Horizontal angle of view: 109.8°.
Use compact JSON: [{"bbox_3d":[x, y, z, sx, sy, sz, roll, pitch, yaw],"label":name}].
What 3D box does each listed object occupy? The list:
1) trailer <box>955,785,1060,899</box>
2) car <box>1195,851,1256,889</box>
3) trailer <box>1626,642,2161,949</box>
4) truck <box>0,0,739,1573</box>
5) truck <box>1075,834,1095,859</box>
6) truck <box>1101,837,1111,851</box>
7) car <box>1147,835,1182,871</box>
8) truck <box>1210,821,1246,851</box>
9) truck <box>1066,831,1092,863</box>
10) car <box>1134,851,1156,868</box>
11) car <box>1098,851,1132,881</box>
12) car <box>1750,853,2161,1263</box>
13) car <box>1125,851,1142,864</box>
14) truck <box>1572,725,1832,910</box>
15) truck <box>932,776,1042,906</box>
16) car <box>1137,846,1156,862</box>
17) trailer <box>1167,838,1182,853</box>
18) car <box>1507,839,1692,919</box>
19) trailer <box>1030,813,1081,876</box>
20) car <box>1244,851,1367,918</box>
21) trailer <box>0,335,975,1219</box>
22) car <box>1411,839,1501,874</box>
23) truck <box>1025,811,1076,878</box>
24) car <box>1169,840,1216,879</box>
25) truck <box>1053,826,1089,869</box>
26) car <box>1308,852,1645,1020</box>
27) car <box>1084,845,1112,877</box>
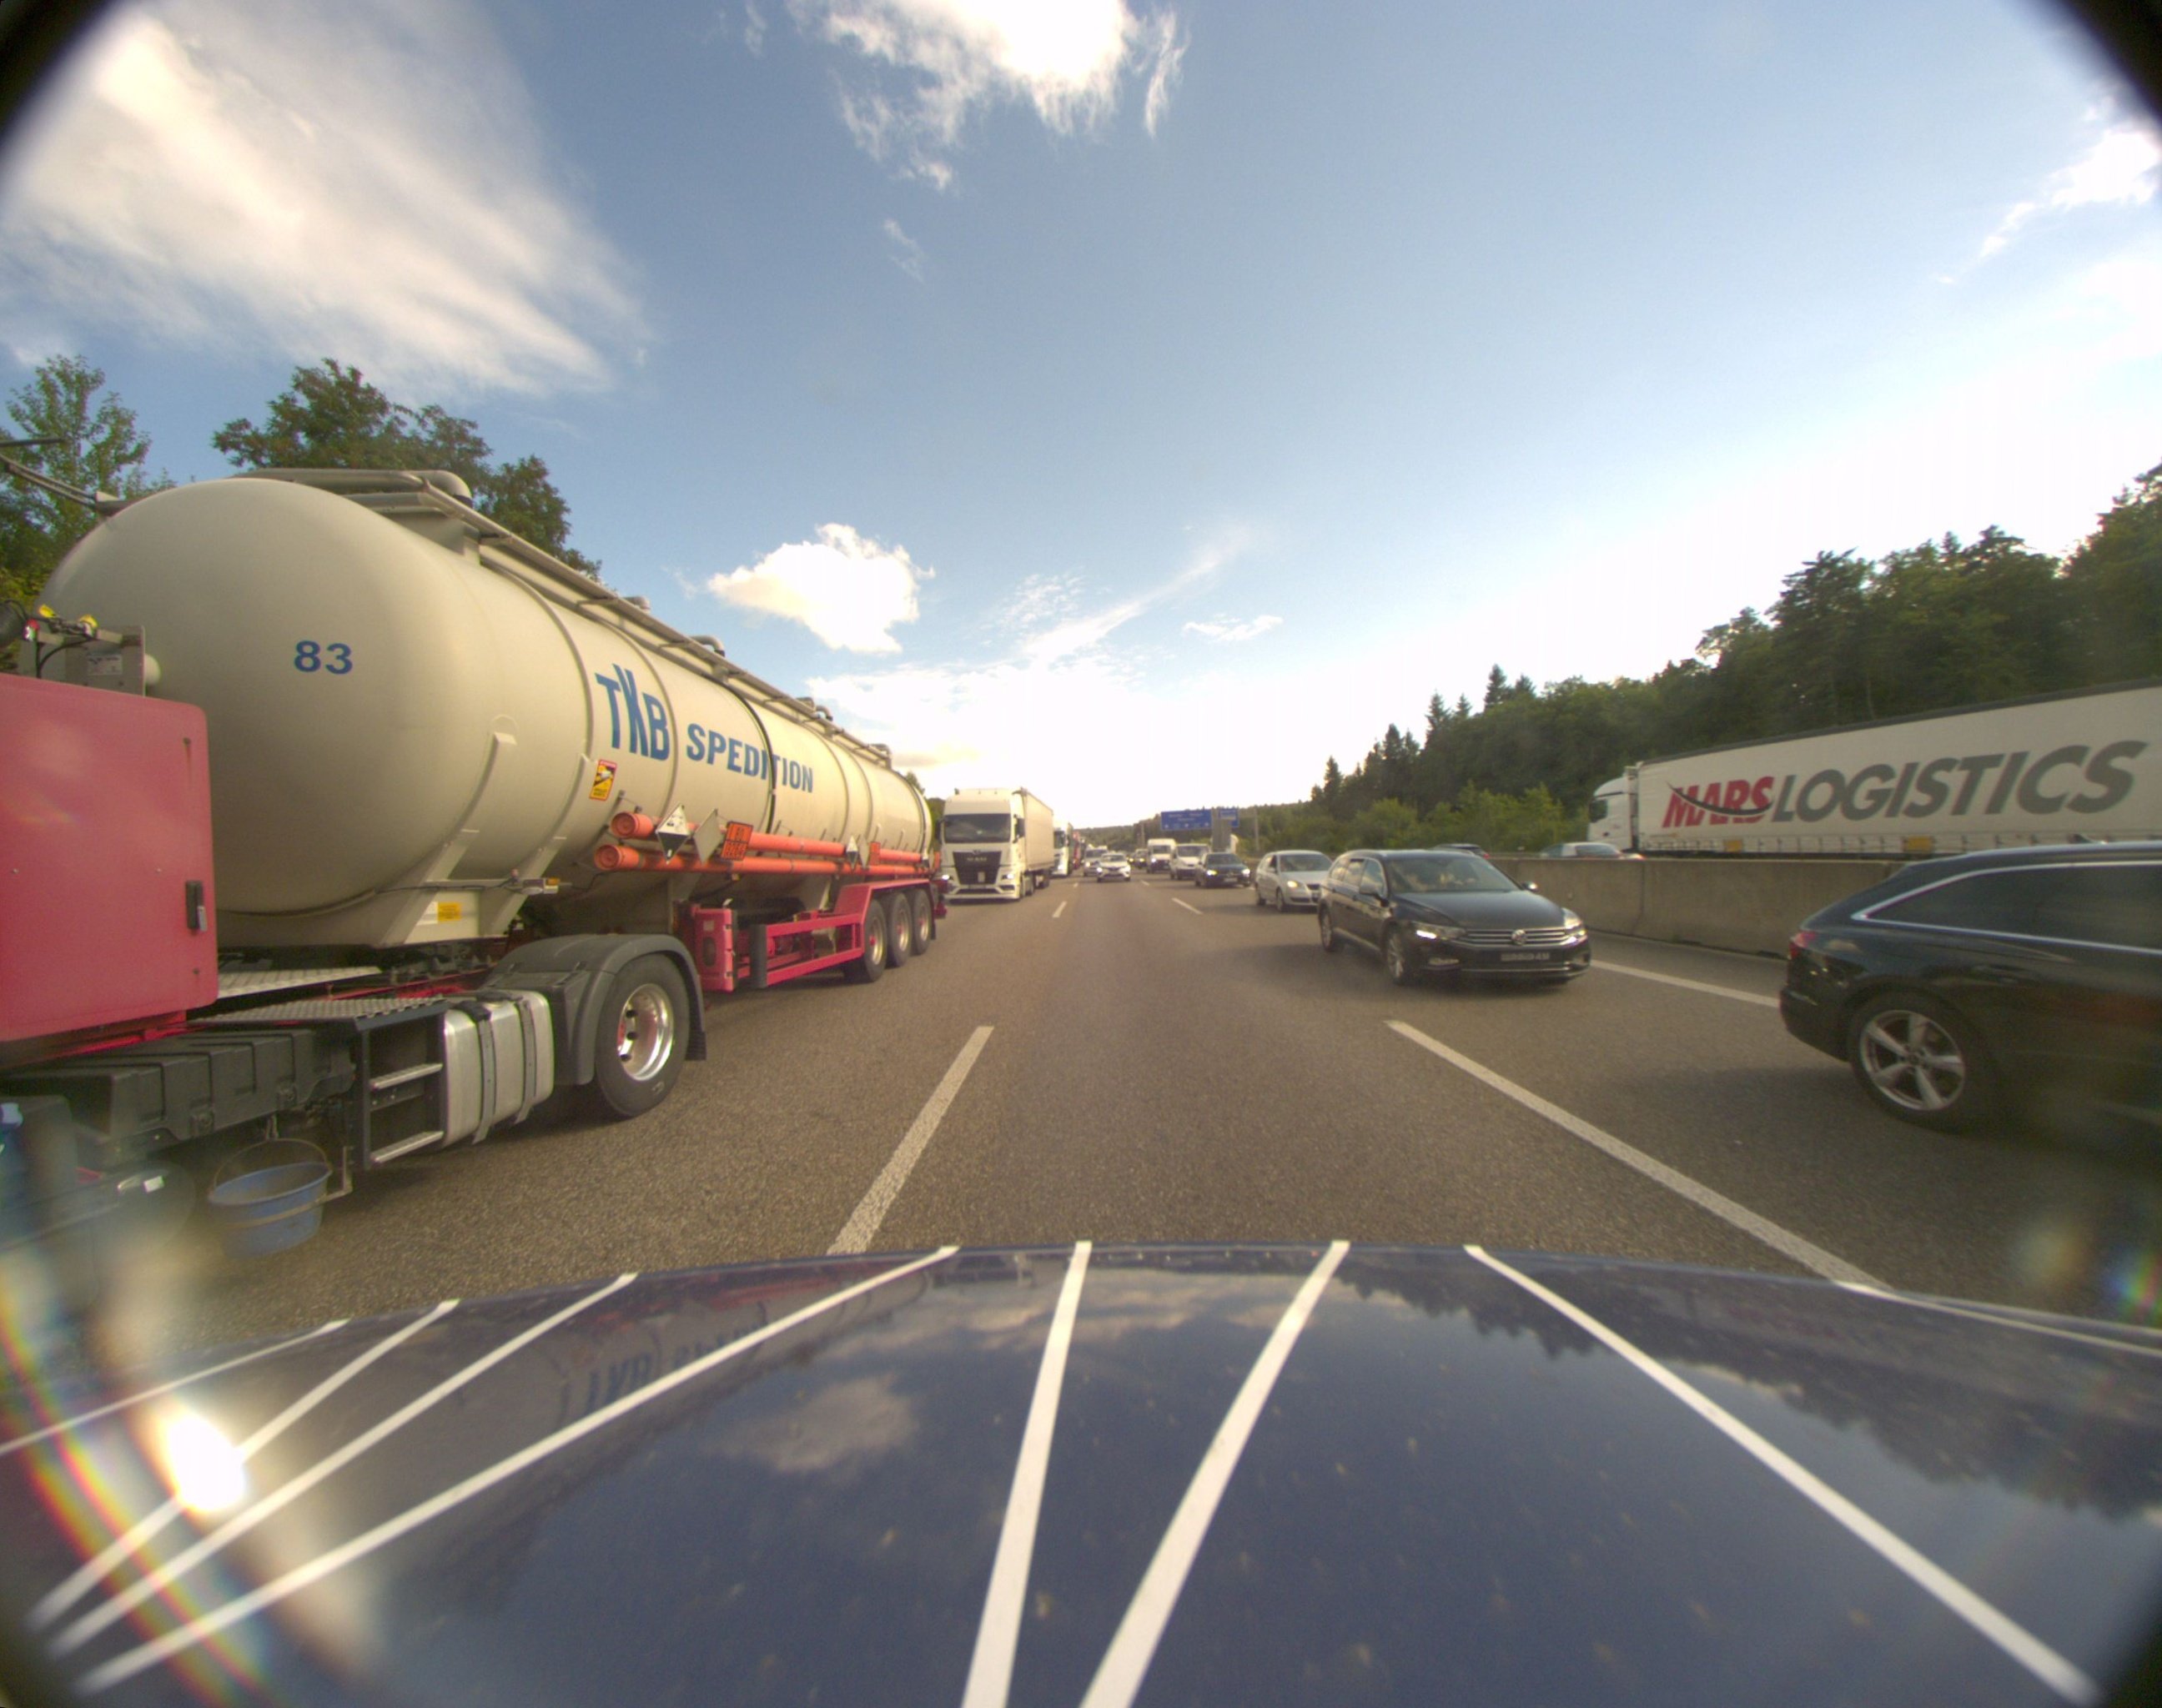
[{"bbox_3d":[-2.842,-0.506,34.229,2.832,4.047,13.372,-2,1,2],"label":"trailer"},{"bbox_3d":[5.911,0.615,31.548,1.809,1.423,3.994,-2,0,1],"label":"car"},{"bbox_3d":[20.123,-1.142,19.048,3.050,5.250,13.833,-2,1,1],"label":"trailer"},{"bbox_3d":[-3.981,-0.284,2.410,2.809,4.020,5.904,-2,1,2],"label":"truck"},{"bbox_3d":[0.717,-1.409,136.134,2.840,4.178,12.045,-2,1,3],"label":"truck"},{"bbox_3d":[7.973,-3.340,243.844,2.840,4.178,12.045,-2,1,3],"label":"truck"},{"bbox_3d":[6.126,-0.091,56.550,2.054,2.557,5.861,-1,0,1],"label":"car"},{"bbox_3d":[22.982,-2.744,119.748,2.939,4.329,13.908,-2,1,1],"label":"truck"},{"bbox_3d":[-0.212,-1.104,107.818,2.840,4.178,12.045,-2,1,3],"label":"truck"},{"bbox_3d":[5.976,0.504,71.061,1.809,1.423,3.660,-2,0,1],"label":"car"},{"bbox_3d":[1.862,0.633,42.559,1.809,1.488,4.666,-1,0,1],"label":"car"},{"bbox_3d":[4.964,0.781,2.195,1.887,1.463,4.852,-2,0,2],"label":"car"},{"bbox_3d":[6.719,0.398,97.510,1.920,1.535,3.811,-2,0,1],"label":"car"},{"bbox_3d":[20.226,-1.100,25.441,3.047,5.223,6.882,-2,1,1],"label":"truck"},{"bbox_3d":[-3.127,-0.425,26.940,2.840,4.048,5.707,-2,1,2],"label":"truck"},{"bbox_3d":[7.698,-0.044,89.681,1.920,1.785,3.811,-2,0,1],"label":"car"},{"bbox_3d":[26.921,-2.404,219.931,2.841,4.178,13.561,-2,1,1],"label":"trailer"},{"bbox_3d":[13.220,0.563,19.745,1.857,1.799,4.323,-2,0,1],"label":"car"},{"bbox_3d":[-1.748,-0.674,58.675,2.841,4.177,13.613,-2,0,2],"label":"trailer"},{"bbox_3d":[5.512,0.678,19.283,1.809,1.423,4.666,-2,0,1],"label":"car"},{"bbox_3d":[-3.715,-0.359,9.107,2.805,4.003,11.182,-2,1,2],"label":"trailer"},{"bbox_3d":[16.921,0.074,34.534,1.959,1.419,4.323,-2,0,1],"label":"car"},{"bbox_3d":[-1.979,-0.612,51.591,2.841,4.178,5.707,-2,1,2],"label":"truck"},{"bbox_3d":[6.069,0.291,41.829,1.947,1.953,4.848,-2,0,1],"label":"car"},{"bbox_3d":[-0.946,-0.769,82.581,2.840,4.178,12.045,-2,1,3],"label":"truck"},{"bbox_3d":[4.284,0.755,9.221,1.915,1.469,4.569,-2,0,3],"label":"car"},{"bbox_3d":[1.170,0.457,53.315,1.809,2.052,4.770,-2,0,1],"label":"car"}]
